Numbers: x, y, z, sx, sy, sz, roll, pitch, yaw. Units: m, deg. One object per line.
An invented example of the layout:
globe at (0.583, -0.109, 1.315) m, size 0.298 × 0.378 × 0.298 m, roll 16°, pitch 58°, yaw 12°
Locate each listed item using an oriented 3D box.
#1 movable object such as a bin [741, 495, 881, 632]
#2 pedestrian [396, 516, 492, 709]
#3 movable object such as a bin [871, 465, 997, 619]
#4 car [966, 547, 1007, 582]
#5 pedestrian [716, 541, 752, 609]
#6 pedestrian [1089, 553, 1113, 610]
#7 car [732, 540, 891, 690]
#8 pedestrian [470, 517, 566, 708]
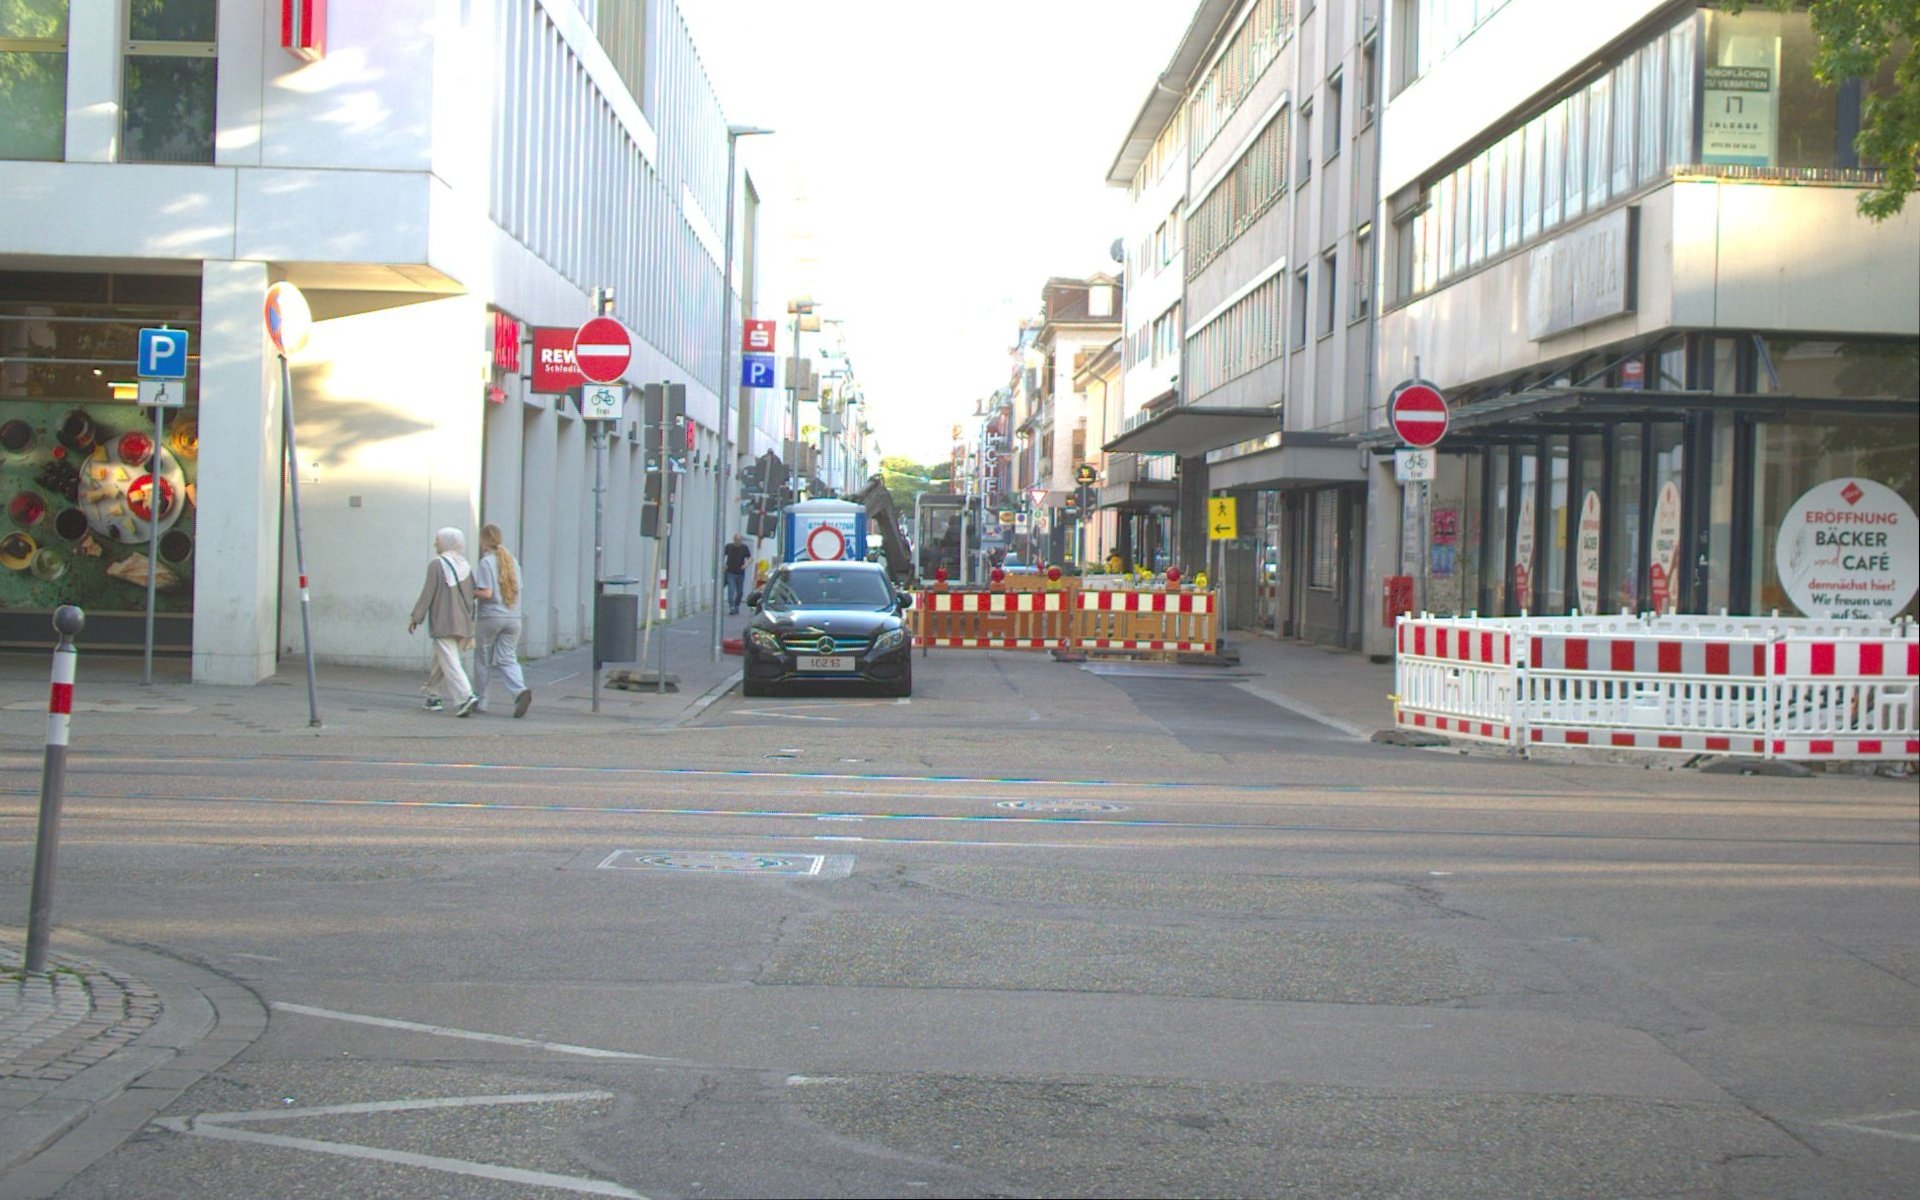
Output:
movable object such as a bin at (-2.242, -0.570, 52.675) m, size 1.993 × 2.007 × 4.000 m, roll 0°, pitch 1°, yaw 0°
pedestrian at (-4.415, 0.100, 29.398) m, size 0.609 × 1.622 × 0.873 m, roll 0°, pitch 1°, yaw -23°
movable object such as a bin at (-0.491, -1.055, 62.658) m, size 2.156 × 2.654 × 4.573 m, roll 1°, pitch 1°, yaw -1°
car at (1.365, -1.819, 176.645) m, size 1.993 × 1.770 × 4.000 m, roll 0°, pitch 1°, yaw -1°
pedestrian at (-4.881, -0.538, 74.164) m, size 0.716 × 1.459 × 0.525 m, roll 0°, pitch 1°, yaw 2°
pedestrian at (3.674, -0.489, 89.338) m, size 0.524 × 1.459 × 0.718 m, roll 2°, pitch 1°, yaw 7°
car at (-1.657, 0.130, 37.558) m, size 1.629 × 1.545 × 3.143 m, roll 0°, pitch 1°, yaw -4°
pedestrian at (-3.815, 0.100, 29.641) m, size 0.609 × 1.622 × 0.873 m, roll 0°, pitch 1°, yaw -23°
